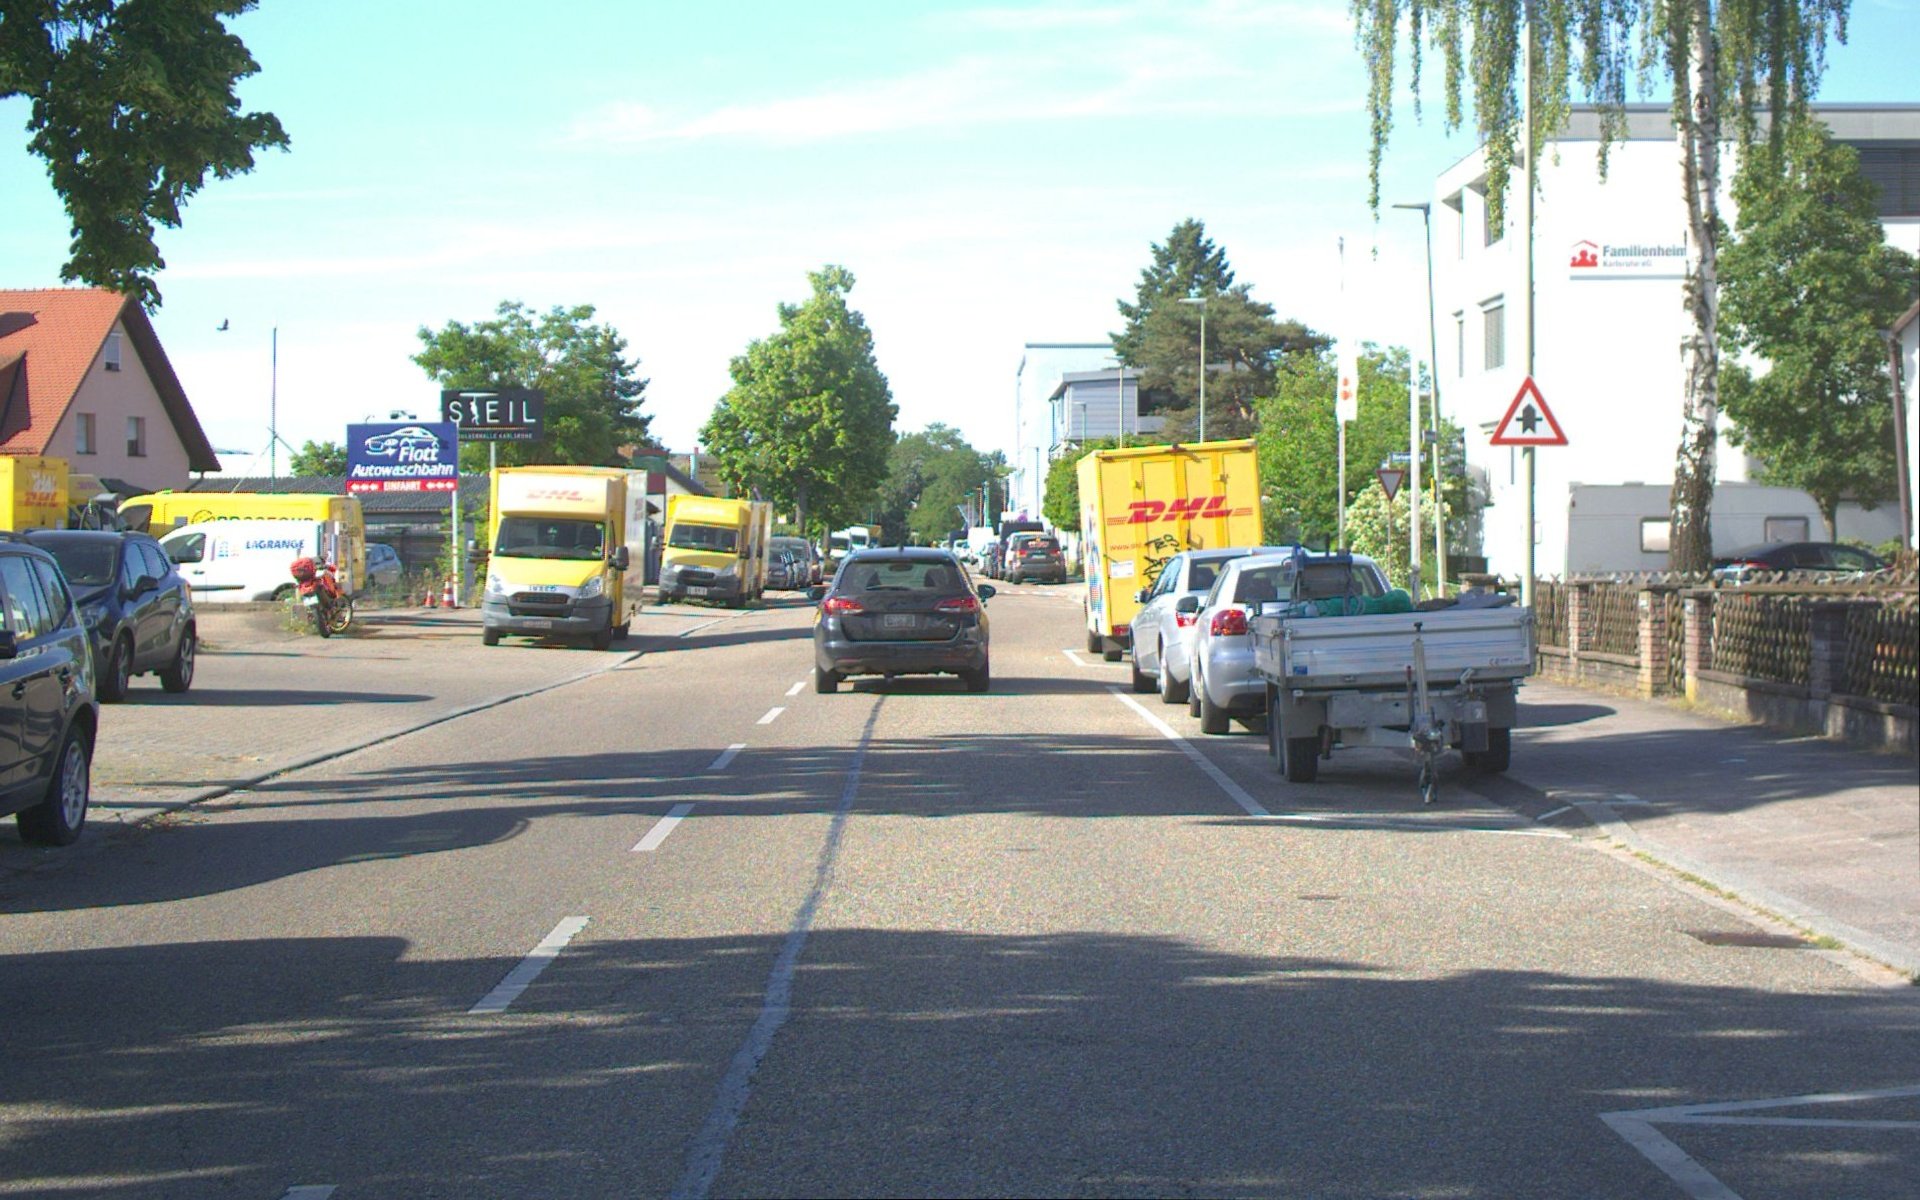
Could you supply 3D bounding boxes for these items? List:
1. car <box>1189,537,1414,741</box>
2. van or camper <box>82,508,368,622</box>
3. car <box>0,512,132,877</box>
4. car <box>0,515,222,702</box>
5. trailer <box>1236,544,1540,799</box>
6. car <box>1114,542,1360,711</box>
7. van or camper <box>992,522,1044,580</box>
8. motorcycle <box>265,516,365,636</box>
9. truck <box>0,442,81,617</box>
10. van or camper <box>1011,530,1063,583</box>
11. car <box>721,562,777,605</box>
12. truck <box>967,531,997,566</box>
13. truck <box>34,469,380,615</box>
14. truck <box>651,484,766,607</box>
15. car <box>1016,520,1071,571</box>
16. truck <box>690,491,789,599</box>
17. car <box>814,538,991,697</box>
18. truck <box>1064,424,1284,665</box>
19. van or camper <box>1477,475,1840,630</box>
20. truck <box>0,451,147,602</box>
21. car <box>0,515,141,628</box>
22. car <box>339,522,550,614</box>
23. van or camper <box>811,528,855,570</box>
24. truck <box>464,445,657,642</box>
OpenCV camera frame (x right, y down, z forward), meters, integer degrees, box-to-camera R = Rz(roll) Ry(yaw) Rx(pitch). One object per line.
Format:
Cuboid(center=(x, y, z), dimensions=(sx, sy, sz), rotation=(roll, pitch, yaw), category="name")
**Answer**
Cuboid(center=(2.760, 0.261, 28.462), dimensions=(1.674, 1.537, 4.043), rotation=(1, 1, 3), category="car")
Cuboid(center=(-13.202, -0.630, 61.930), dimensions=(4.544, 2.007, 2.250), rotation=(0, 1, 7), category="van or camper")
Cuboid(center=(-5.490, 0.430, 17.030), dimensions=(1.674, 1.765, 4.555), rotation=(2, 1, -1), category="car")
Cuboid(center=(-8.893, 0.039, 34.915), dimensions=(1.861, 1.708, 4.277), rotation=(3, 1, -1), category="car")
Cuboid(center=(2.727, 0.406, 22.473), dimensions=(1.627, 1.533, 3.198), rotation=(0, 1, 1), category="trailer")
Cuboid(center=(2.652, 0.205, 33.918), dimensions=(1.783, 1.537, 4.538), rotation=(0, 1, -4), category="car")
Cuboid(center=(2.306, -1.966, 137.420), dimensions=(1.993, 2.302, 4.000), rotation=(0, 1, 0), category="van or camper")
Cuboid(center=(-10.533, -0.418, 56.261), dimensions=(0.781, 1.866, 3.040), rotation=(3, 2, 4), category="motorcycle")
Cuboid(center=(-19.335, -1.353, 62.975), dimensions=(5.671, 3.109, 2.522), rotation=(2, 1, 11), category="truck")
Cuboid(center=(2.956, -1.681, 132.376), dimensions=(1.919, 2.012, 4.080), rotation=(0, 1, 0), category="van or camper")
Cuboid(center=(-7.171, -0.579, 117.013), dimensions=(1.756, 1.398, 4.558), rotation=(0, 1, -2), category="car")
Cuboid(center=(1.453, -3.486, 231.539), dimensions=(1.993, 2.280, 6.956), rotation=(0, 1, 0), category="truck")
Cuboid(center=(-14.168, -1.105, 64.802), dimensions=(5.924, 2.559, 2.223), rotation=(2, 1, 12), category="truck")
Cuboid(center=(-6.389, -1.397, 88.083), dimensions=(2.402, 2.973, 6.374), rotation=(2, 1, 0), category="truck")
Cuboid(center=(3.071, -2.014, 126.920), dimensions=(1.919, 1.819, 4.080), rotation=(0, 1, 0), category="car")
Cuboid(center=(-6.190, -1.562, 97.336), dimensions=(2.193, 2.892, 6.439), rotation=(2, 1, 1), category="truck")
Cuboid(center=(-0.548, 0.140, 35.715), dimensions=(1.712, 1.527, 3.687), rotation=(0, 1, 1), category="car")
Cuboid(center=(2.786, -0.741, 46.610), dimensions=(2.402, 2.926, 7.016), rotation=(-2, 1, 0), category="truck")
Cuboid(center=(11.881, -0.812, 58.423), dimensions=(5.812, 2.532, 2.290), rotation=(-1, 1, -25), category="van or camper")
Cuboid(center=(-19.637, -1.470, 69.085), dimensions=(6.095, 2.962, 2.172), rotation=(0, 1, 13), category="truck")
Cuboid(center=(-15.416, -0.509, 57.453), dimensions=(1.866, 1.557, 4.212), rotation=(1, 5, 9), category="car")
Cuboid(center=(-11.391, -0.716, 76.030), dimensions=(4.249, 2.007, 1.868), rotation=(0, 1, 8), category="car")
Cuboid(center=(-7.287, -2.908, 196.795), dimensions=(2.323, 2.354, 6.529), rotation=(0, 1, -4), category="van or camper")
Cuboid(center=(-6.470, -0.926, 56.526), dimensions=(2.402, 2.973, 7.246), rotation=(2, 1, -1), category="truck")
